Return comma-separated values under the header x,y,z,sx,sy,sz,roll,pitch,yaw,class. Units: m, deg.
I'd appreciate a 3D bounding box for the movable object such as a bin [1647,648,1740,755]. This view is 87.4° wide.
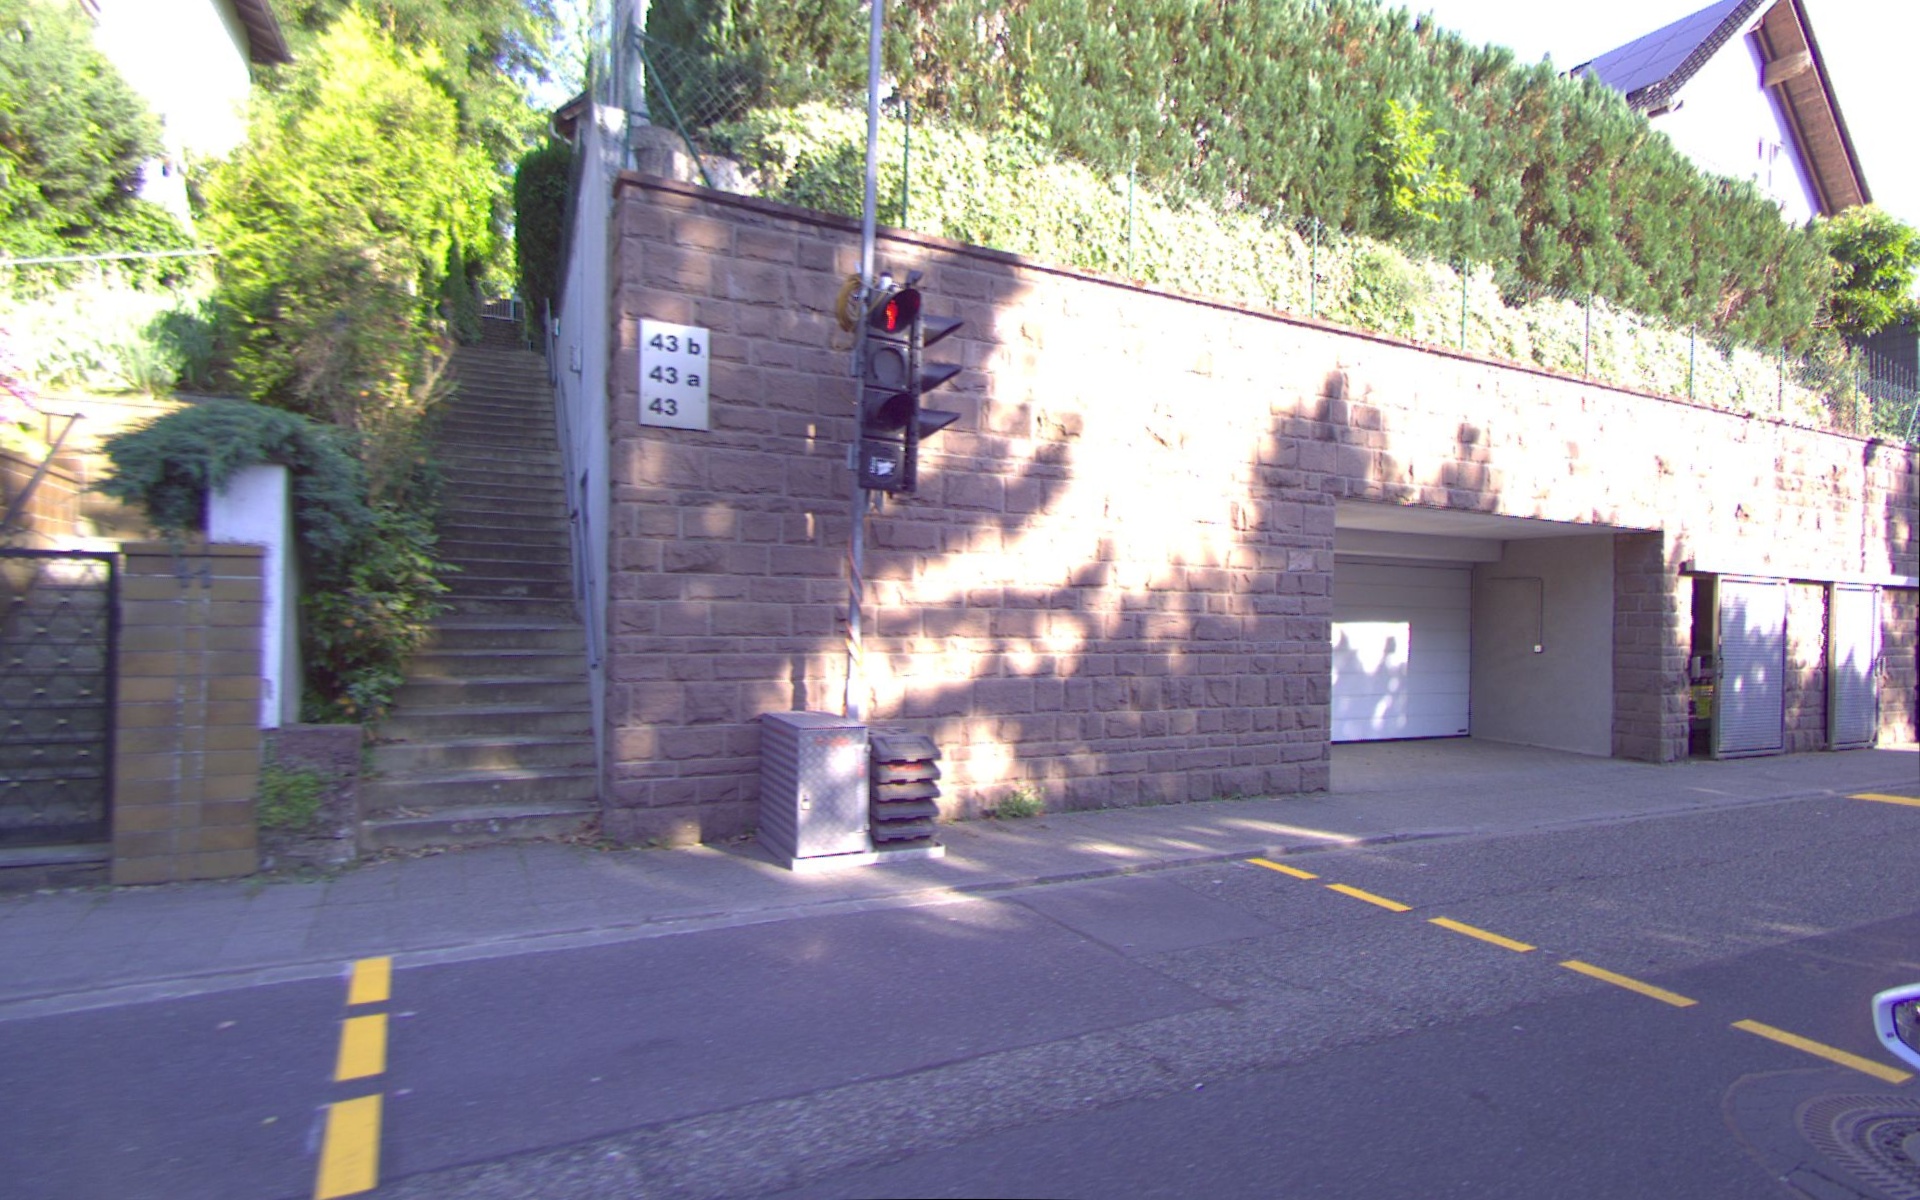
x,y,z,sx,sy,sz,roll,pitch,yaw,class
8.627,1.170,11.829,0.657,1.191,0.656,1,-1,-26,movable object such as a bin
